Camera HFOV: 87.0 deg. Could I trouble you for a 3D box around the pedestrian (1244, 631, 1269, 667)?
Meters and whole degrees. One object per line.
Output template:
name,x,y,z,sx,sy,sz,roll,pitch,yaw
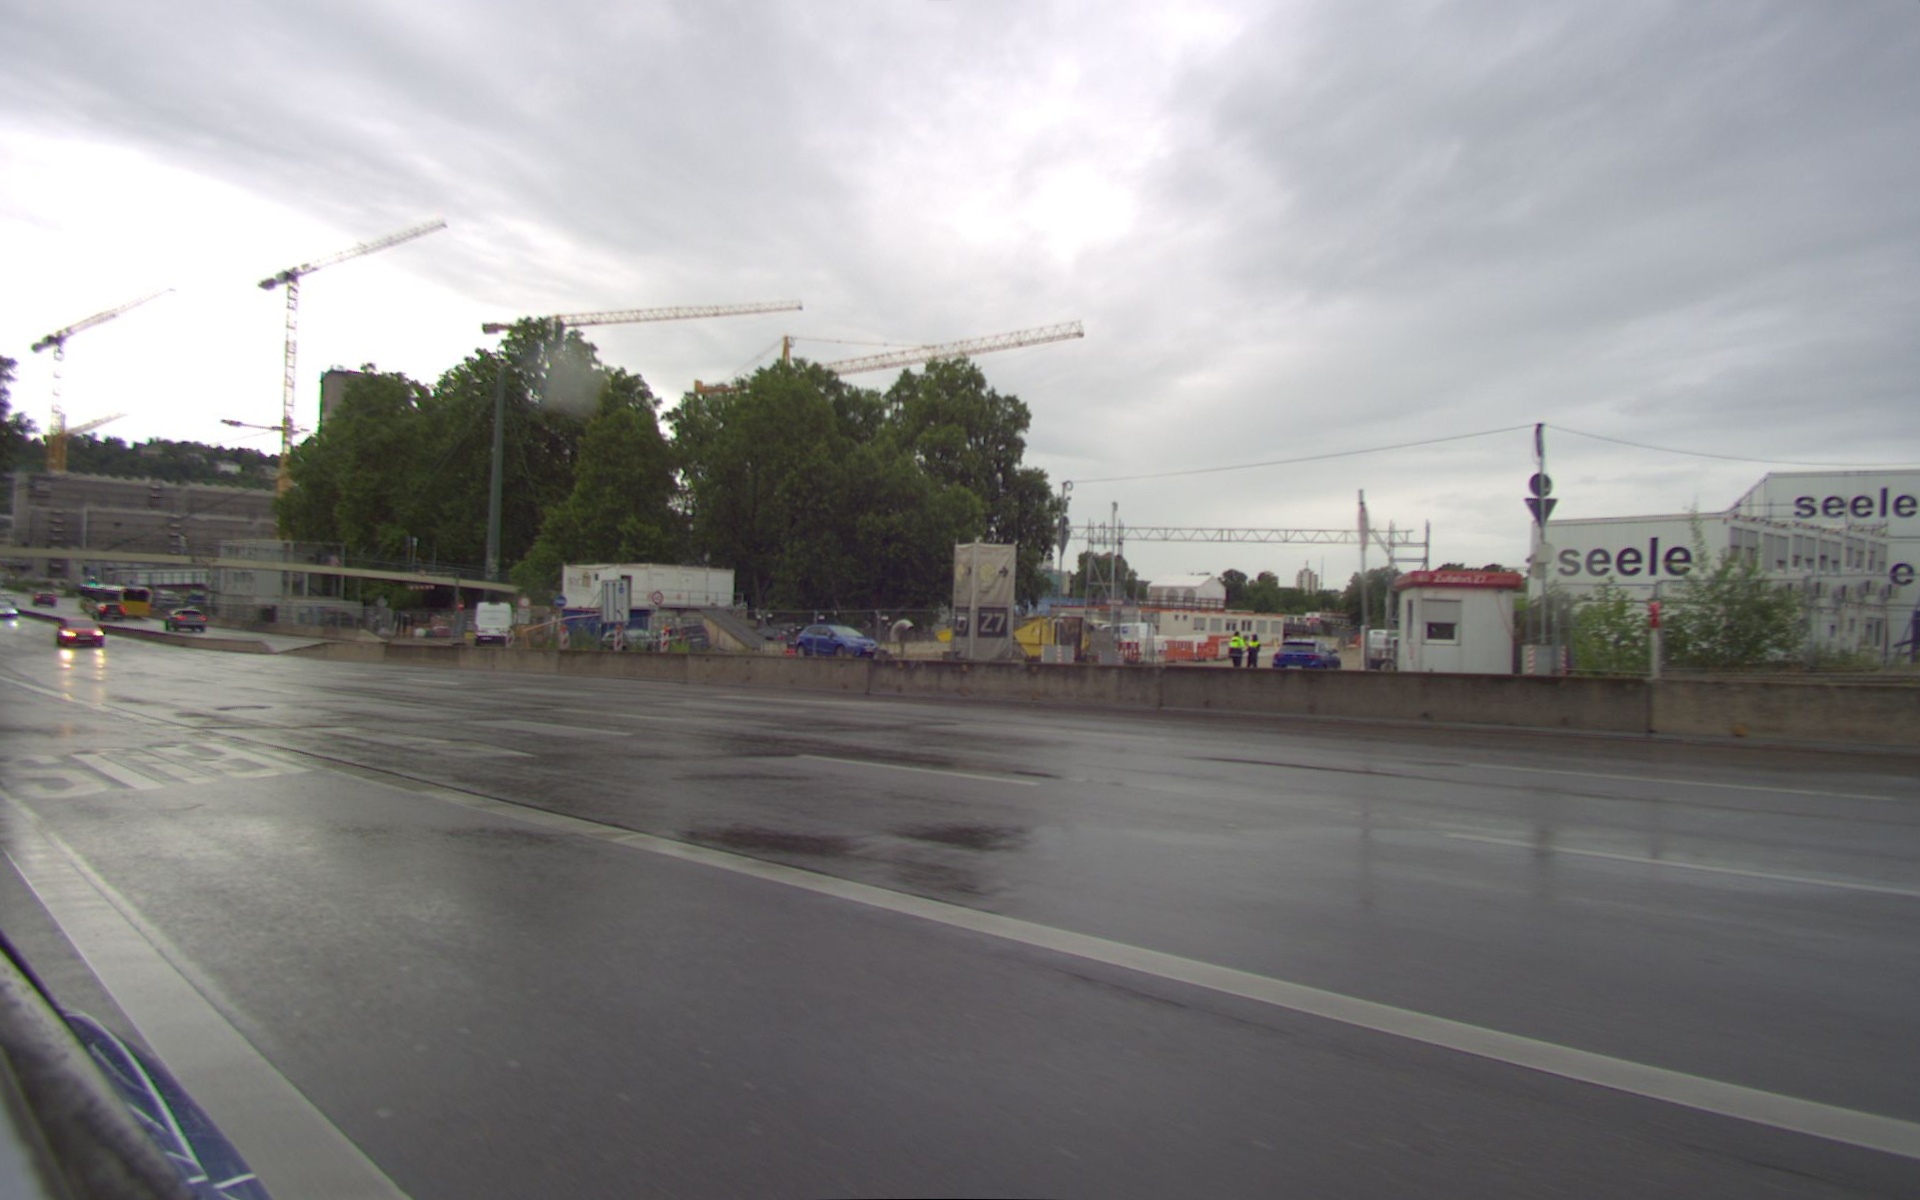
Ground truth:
pedestrian,11.202,1.837,38.244,0.735,1.363,0.836,0,-2,5

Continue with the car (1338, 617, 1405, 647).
car,28.817,2.216,70.940,3.932,2.029,2.006,-1,-1,-17

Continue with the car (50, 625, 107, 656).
car,-46.240,2.100,53.065,3.998,1.564,1.668,-2,-3,41

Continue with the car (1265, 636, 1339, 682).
car,12.592,2.107,37.131,1.990,1.519,3.962,-1,-1,28

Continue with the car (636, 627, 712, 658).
car,-14.350,2.110,50.637,1.813,1.501,4.444,2,-3,-43

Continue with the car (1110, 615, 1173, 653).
car,11.889,2.234,66.098,3.962,2.402,1.991,0,-2,15

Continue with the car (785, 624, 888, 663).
car,-5.047,1.724,40.945,1.814,1.501,4.443,2,-3,-44

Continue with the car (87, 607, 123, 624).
car,-79.218,1.446,93.734,4.436,1.588,1.817,-1,-3,40

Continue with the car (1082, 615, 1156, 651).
car,10.928,2.269,69.950,4.887,2.402,1.997,0,-2,5

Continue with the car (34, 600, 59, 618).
car,-109.244,1.060,121.004,1.971,2.029,4.002,2,-3,-45

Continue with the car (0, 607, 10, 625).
car,-88.353,1.428,92.305,4.436,1.588,1.962,-1,-3,40

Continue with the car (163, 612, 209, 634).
car,-57.053,1.726,74.578,4.436,1.588,1.817,-1,-3,40

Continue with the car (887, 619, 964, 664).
car,-1.937,2.267,55.725,3.998,2.402,1.972,-1,-3,42

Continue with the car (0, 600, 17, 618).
car,-113.024,1.094,119.678,1.971,2.029,4.002,2,-3,-45

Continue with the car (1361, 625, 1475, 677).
car,18.288,2.007,40.448,3.985,1.955,1.979,0,-3,31

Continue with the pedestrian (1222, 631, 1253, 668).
pedestrian,10.330,1.846,37.690,0.734,1.363,0.839,2,-3,-43

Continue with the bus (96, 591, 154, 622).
bus,-85.094,0.699,103.086,8.950,2.963,3.228,-1,-1,41

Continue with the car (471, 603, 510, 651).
car,-28.313,1.642,61.051,2.044,2.759,4.608,1,-2,-25
